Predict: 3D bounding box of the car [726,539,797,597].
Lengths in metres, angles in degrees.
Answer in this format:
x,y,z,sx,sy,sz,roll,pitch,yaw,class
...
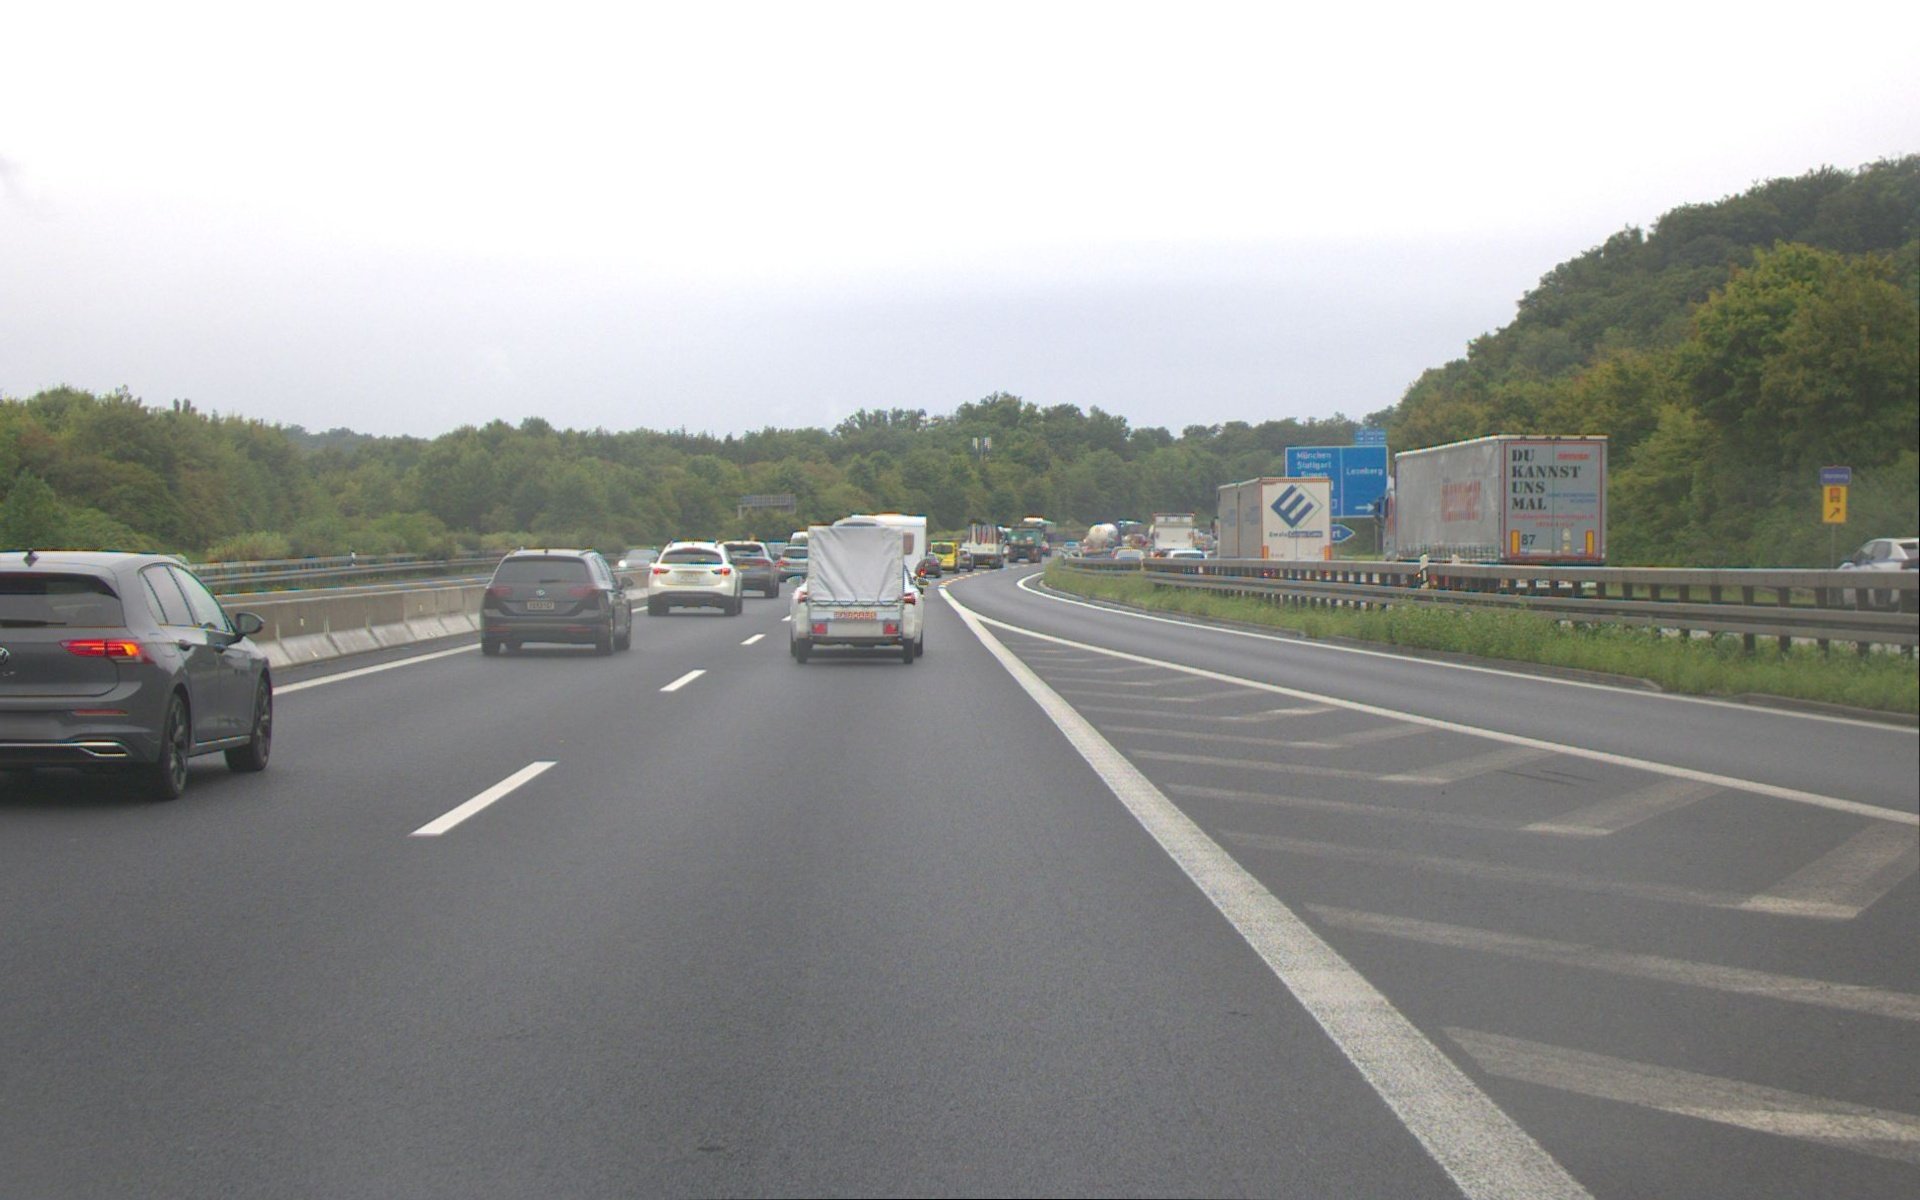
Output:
x,y,z,sx,sy,sz,roll,pitch,yaw,class
-6.014,-0.987,104.662,1.975,1.697,4.802,1,1,-1,car

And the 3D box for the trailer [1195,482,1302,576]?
x,y,z,sx,sy,sz,roll,pitch,yaw,class
11.287,-2.769,135.157,2.937,3.515,8.421,1,1,-4,trailer

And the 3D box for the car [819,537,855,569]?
x,y,z,sx,sy,sz,roll,pitch,yaw,class
-6.566,-2.504,183.337,1.819,1.656,4.017,0,1,-1,car

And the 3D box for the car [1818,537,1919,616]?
x,y,z,sx,sy,sz,roll,pitch,yaw,class
18.555,-0.492,67.532,1.819,1.498,5.032,0,1,-4,car

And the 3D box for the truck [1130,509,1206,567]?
x,y,z,sx,sy,sz,roll,pitch,yaw,class
13.644,-4.069,226.225,3.824,3.646,8.273,1,1,-5,truck

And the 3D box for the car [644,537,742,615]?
x,y,z,sx,sy,sz,roll,pitch,yaw,class
-5.945,-0.557,76.941,2.048,1.665,4.541,1,1,-3,car

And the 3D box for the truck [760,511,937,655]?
x,y,z,sx,sy,sz,roll,pitch,yaw,class
-1.536,-0.222,47.097,2.242,1.833,6.585,0,0,-2,truck

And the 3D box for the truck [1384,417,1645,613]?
x,y,z,sx,sy,sz,roll,pitch,yaw,class
13.862,-2.069,87.896,3.820,4.525,16.886,0,1,0,truck

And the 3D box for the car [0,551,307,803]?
x,y,z,sx,sy,sz,roll,pitch,yaw,class
-5.454,0.409,21.813,1.830,1.420,4.368,0,1,-1,car

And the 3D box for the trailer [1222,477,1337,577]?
x,y,z,sx,sy,sz,roll,pitch,yaw,class
11.729,-2.654,126.923,3.078,3.515,8.086,1,1,-3,trailer

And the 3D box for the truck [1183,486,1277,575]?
x,y,z,sx,sy,sz,roll,pitch,yaw,class
10.958,-2.813,139.975,2.937,3.515,5.928,1,1,-4,truck

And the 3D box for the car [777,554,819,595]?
x,y,z,sx,sy,sz,roll,pitch,yaw,class
-7.248,-1.164,153.856,1.738,1.787,4.000,1,1,-1,car

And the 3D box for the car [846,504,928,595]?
x,y,z,sx,sy,sz,roll,pitch,yaw,class
-2.311,-1.577,106.574,2.331,2.716,6.541,0,1,-3,car

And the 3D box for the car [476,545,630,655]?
x,y,z,sx,sy,sz,roll,pitch,yaw,class
-5.660,-0.038,48.250,1.787,1.454,4.803,1,1,-2,car

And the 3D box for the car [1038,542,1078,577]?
x,y,z,sx,sy,sz,roll,pitch,yaw,class
4.482,-1.843,157.177,1.645,1.568,4.000,1,1,-1,car

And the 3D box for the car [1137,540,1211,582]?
x,y,z,sx,sy,sz,roll,pitch,yaw,class
8.335,-1.514,134.253,1.993,1.611,5.080,0,1,-7,car
